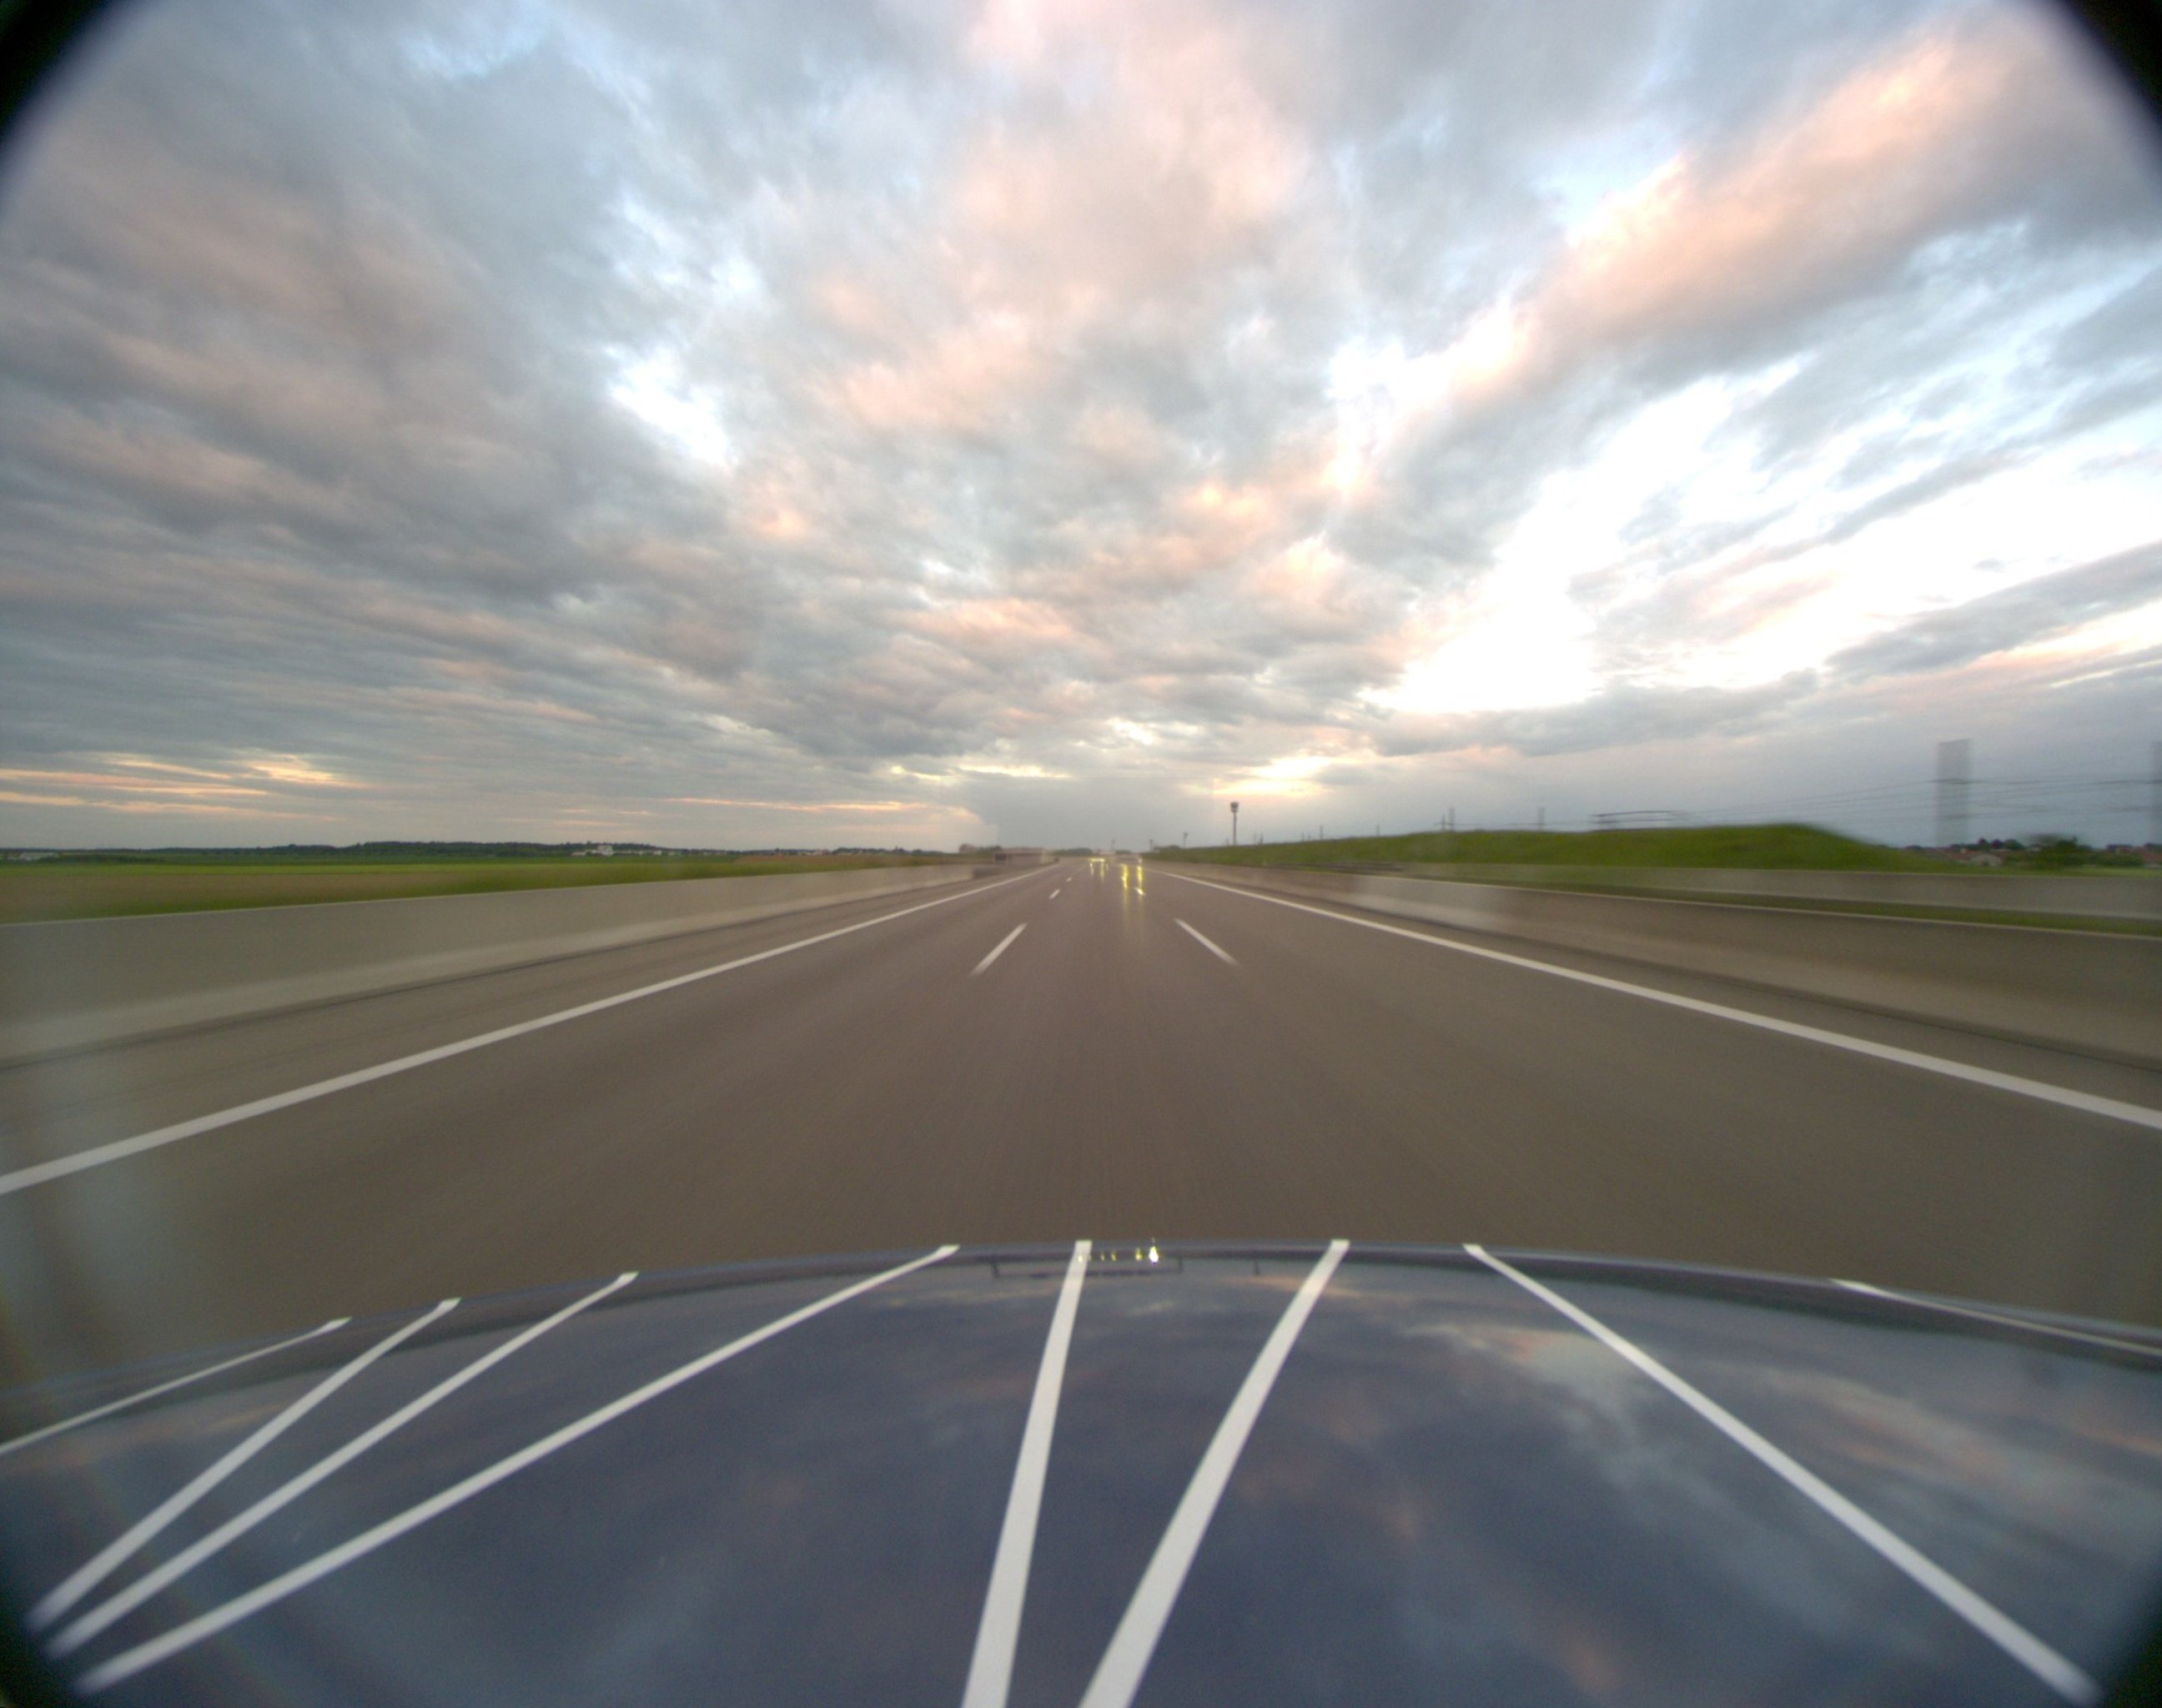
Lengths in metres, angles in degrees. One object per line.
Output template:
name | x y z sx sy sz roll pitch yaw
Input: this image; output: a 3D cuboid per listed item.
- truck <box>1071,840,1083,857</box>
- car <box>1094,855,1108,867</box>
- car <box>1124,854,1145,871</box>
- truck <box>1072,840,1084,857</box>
truck | -0.850 -1.315 184.441 2.596 3.999 5.860 -1 0 1
car | 3.031 1.090 115.674 1.998 1.652 4.851 -3 0 2
car | 5.696 0.907 80.877 1.998 1.652 4.000 -3 0 2
truck | -0.705 -1.331 190.875 2.596 3.999 12.986 -1 0 1
